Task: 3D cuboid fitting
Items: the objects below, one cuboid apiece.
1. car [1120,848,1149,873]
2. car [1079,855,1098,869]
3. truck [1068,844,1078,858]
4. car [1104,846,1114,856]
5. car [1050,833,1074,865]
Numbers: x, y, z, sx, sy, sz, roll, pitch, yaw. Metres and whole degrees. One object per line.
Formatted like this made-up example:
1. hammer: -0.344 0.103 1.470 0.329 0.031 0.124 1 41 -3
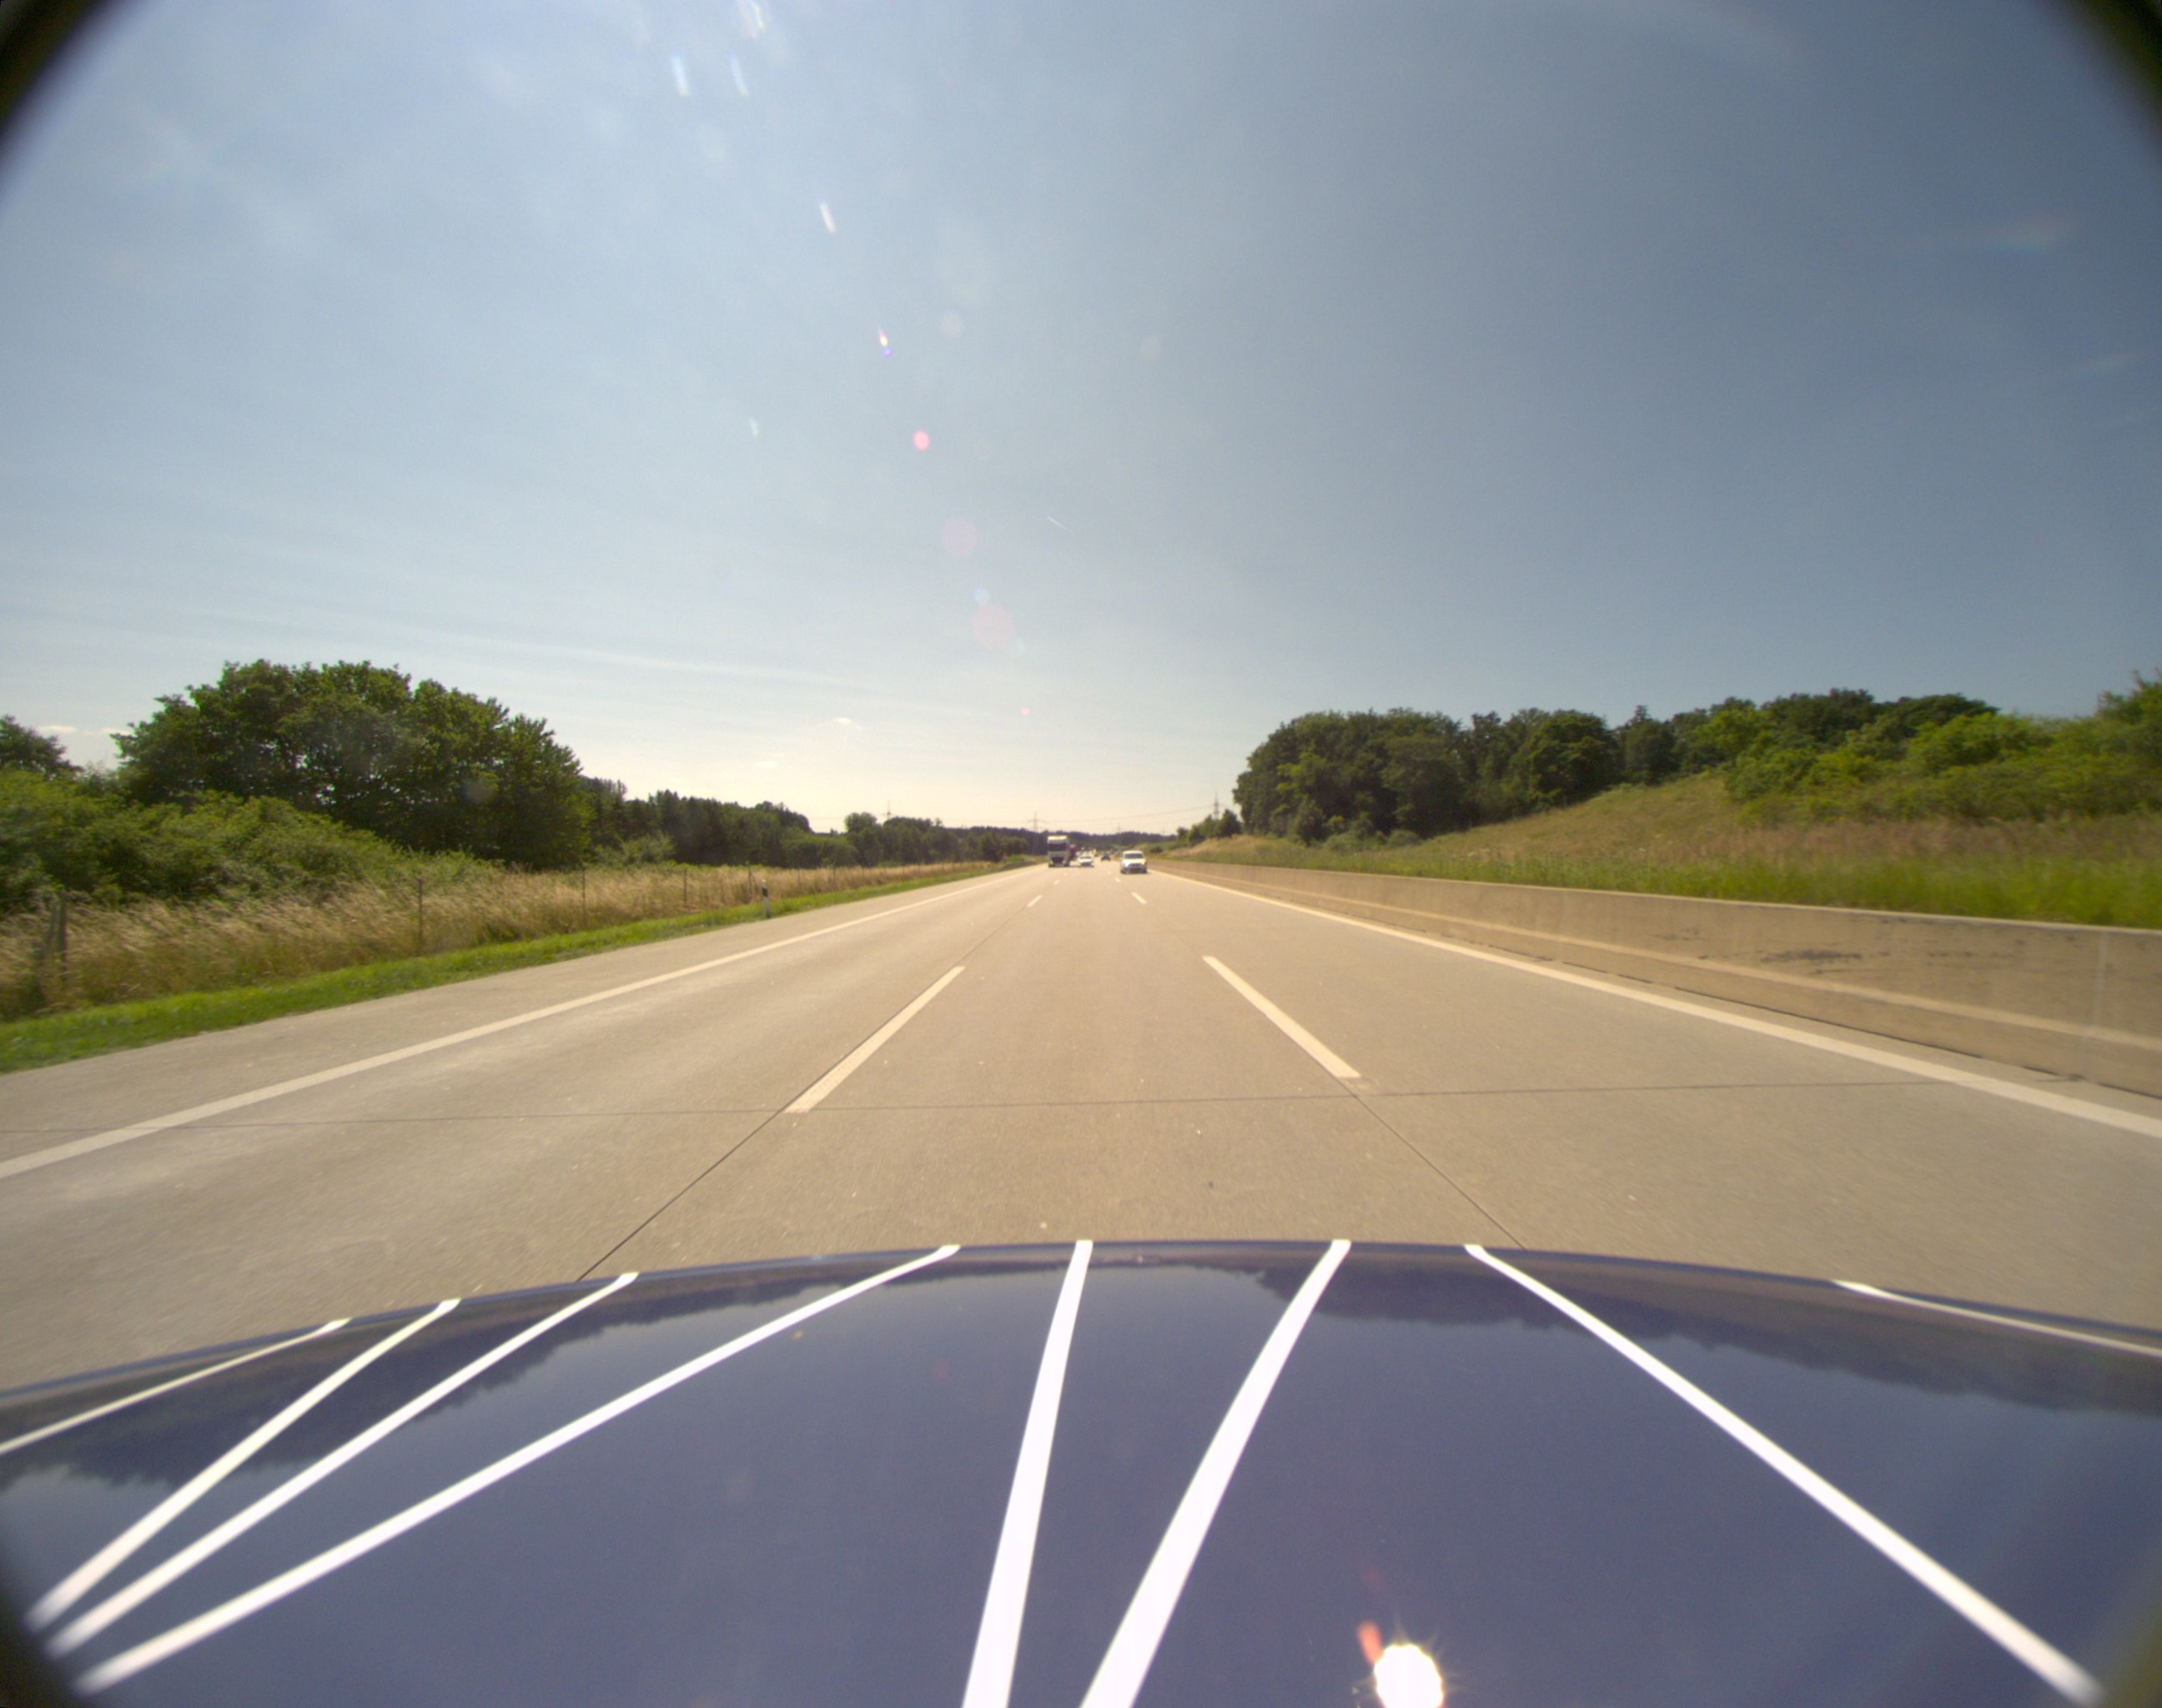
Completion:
1. car: 4.013 0.474 57.894 1.850 1.698 6.035 -2 1 1
2. car: 0.869 0.902 90.874 2.065 1.472 5.068 -5 0 0
3. truck: -2.065 -0.848 192.803 2.351 3.473 5.245 -1 0 0
4. car: 5.893 -0.625 159.413 1.998 1.835 6.529 -3 0 1
5. car: -2.457 -0.675 102.245 2.766 4.029 10.852 -1 0 1
